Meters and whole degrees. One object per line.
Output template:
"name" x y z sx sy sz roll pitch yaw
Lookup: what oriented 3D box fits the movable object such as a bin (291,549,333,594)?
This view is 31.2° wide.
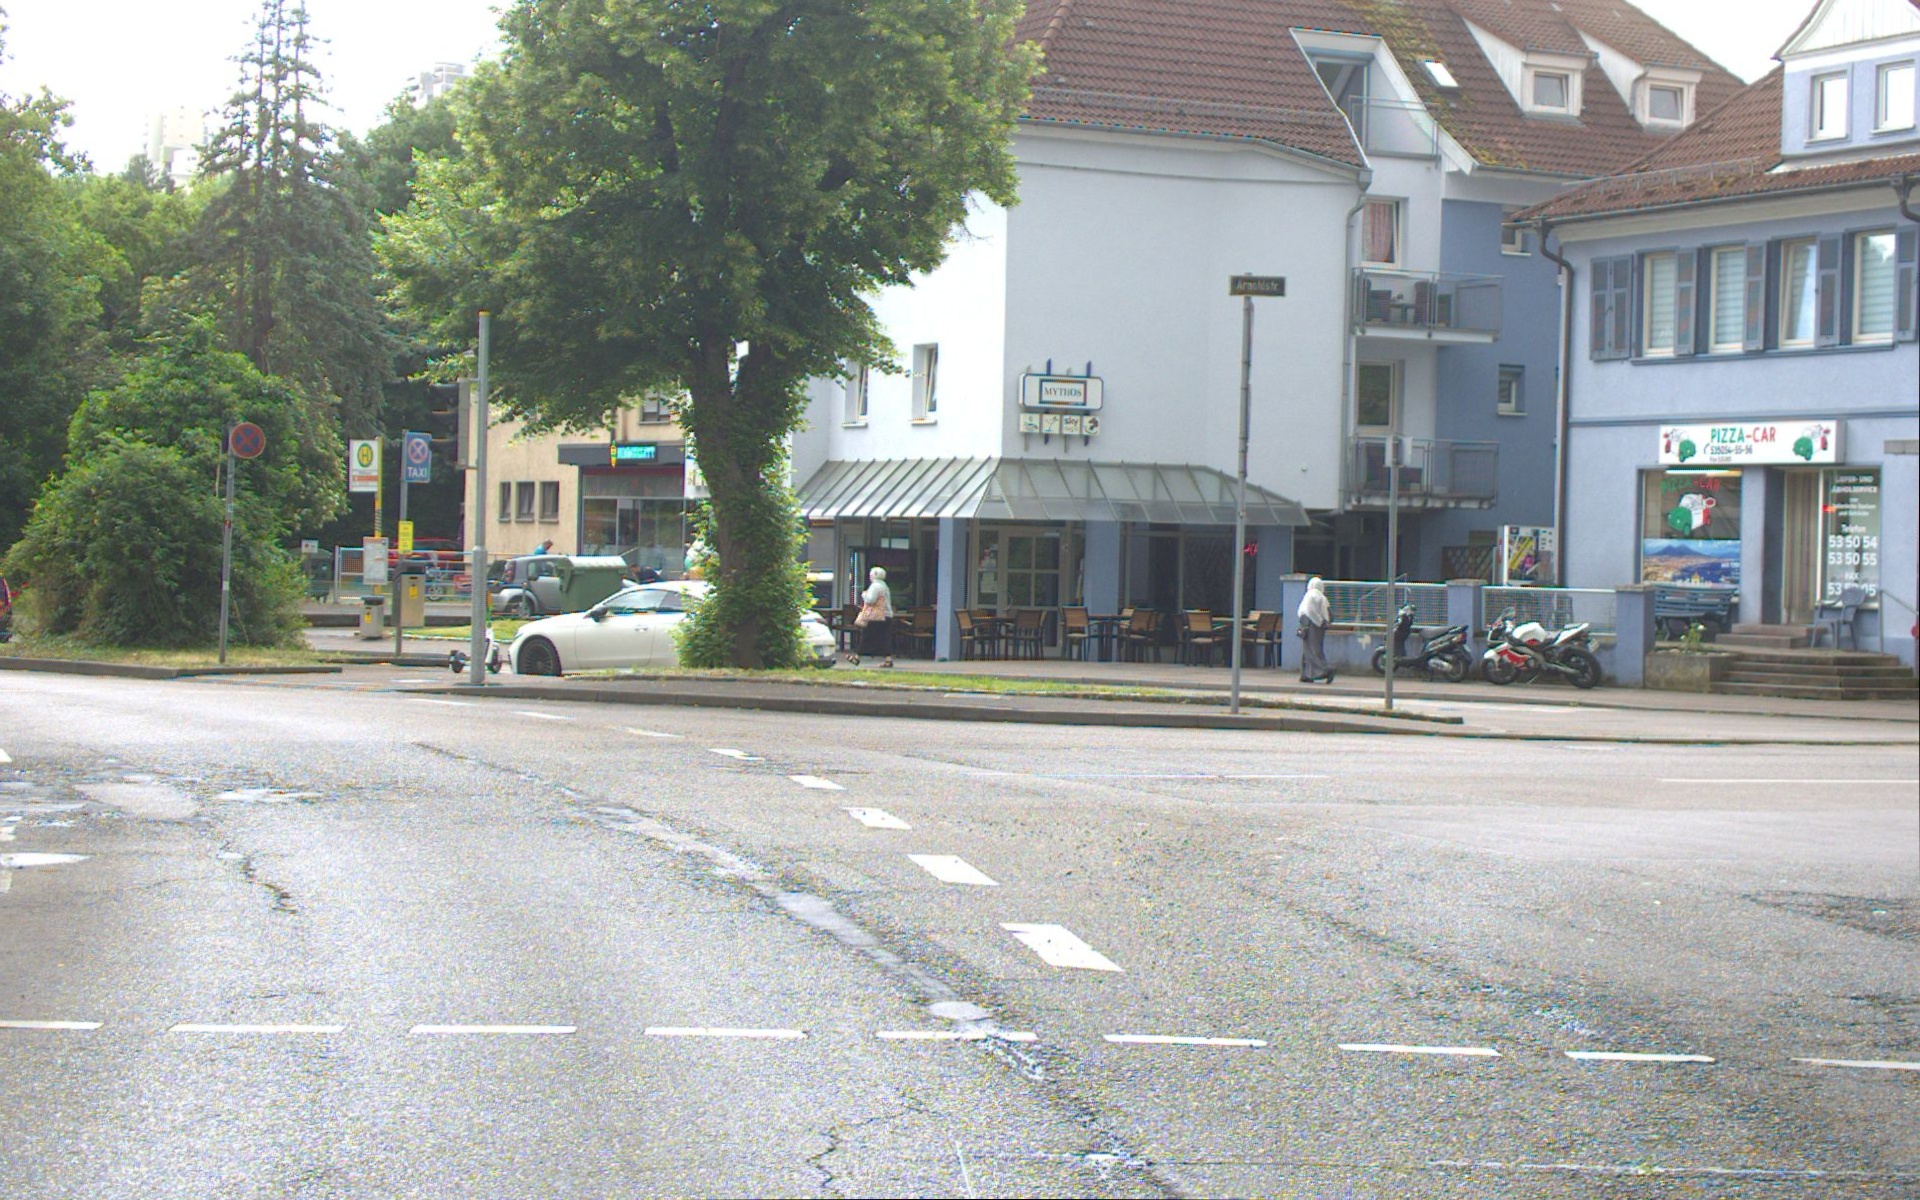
"movable object such as a bin" -16.241 -0.726 86.172 0.950 1.111 0.383 1 1 -21

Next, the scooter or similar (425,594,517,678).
"scooter or similar" -6.056 0.434 42.653 0.417 1.008 1.565 1 1 20

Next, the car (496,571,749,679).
"car" -4.528 0.318 46.046 3.171 1.350 1.436 2 1 35

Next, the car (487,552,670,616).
"car" -8.421 -0.361 75.876 3.733 1.340 1.434 1 1 -26

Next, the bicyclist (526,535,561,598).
"bicyclist" -10.257 -0.823 84.625 0.737 1.536 0.600 1 1 -19

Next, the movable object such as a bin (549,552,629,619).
"movable object such as a bin" -7.978 -0.320 73.979 1.440 1.404 0.967 1 1 -27

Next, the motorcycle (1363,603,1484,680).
"motorcycle" 6.755 0.597 50.162 1.636 1.060 0.693 2 1 44

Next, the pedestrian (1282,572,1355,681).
"pedestrian" 5.159 0.377 49.440 0.768 1.539 0.677 1 1 39

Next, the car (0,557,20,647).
"car" -16.510 -0.009 53.726 3.590 1.389 1.469 2 1 32

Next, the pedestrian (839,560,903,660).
"pedestrian" -1.387 0.156 53.690 0.707 1.539 0.677 2 1 40

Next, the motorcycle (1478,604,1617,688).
"motorcycle" 8.260 0.635 48.383 1.798 1.118 0.693 2 1 38
